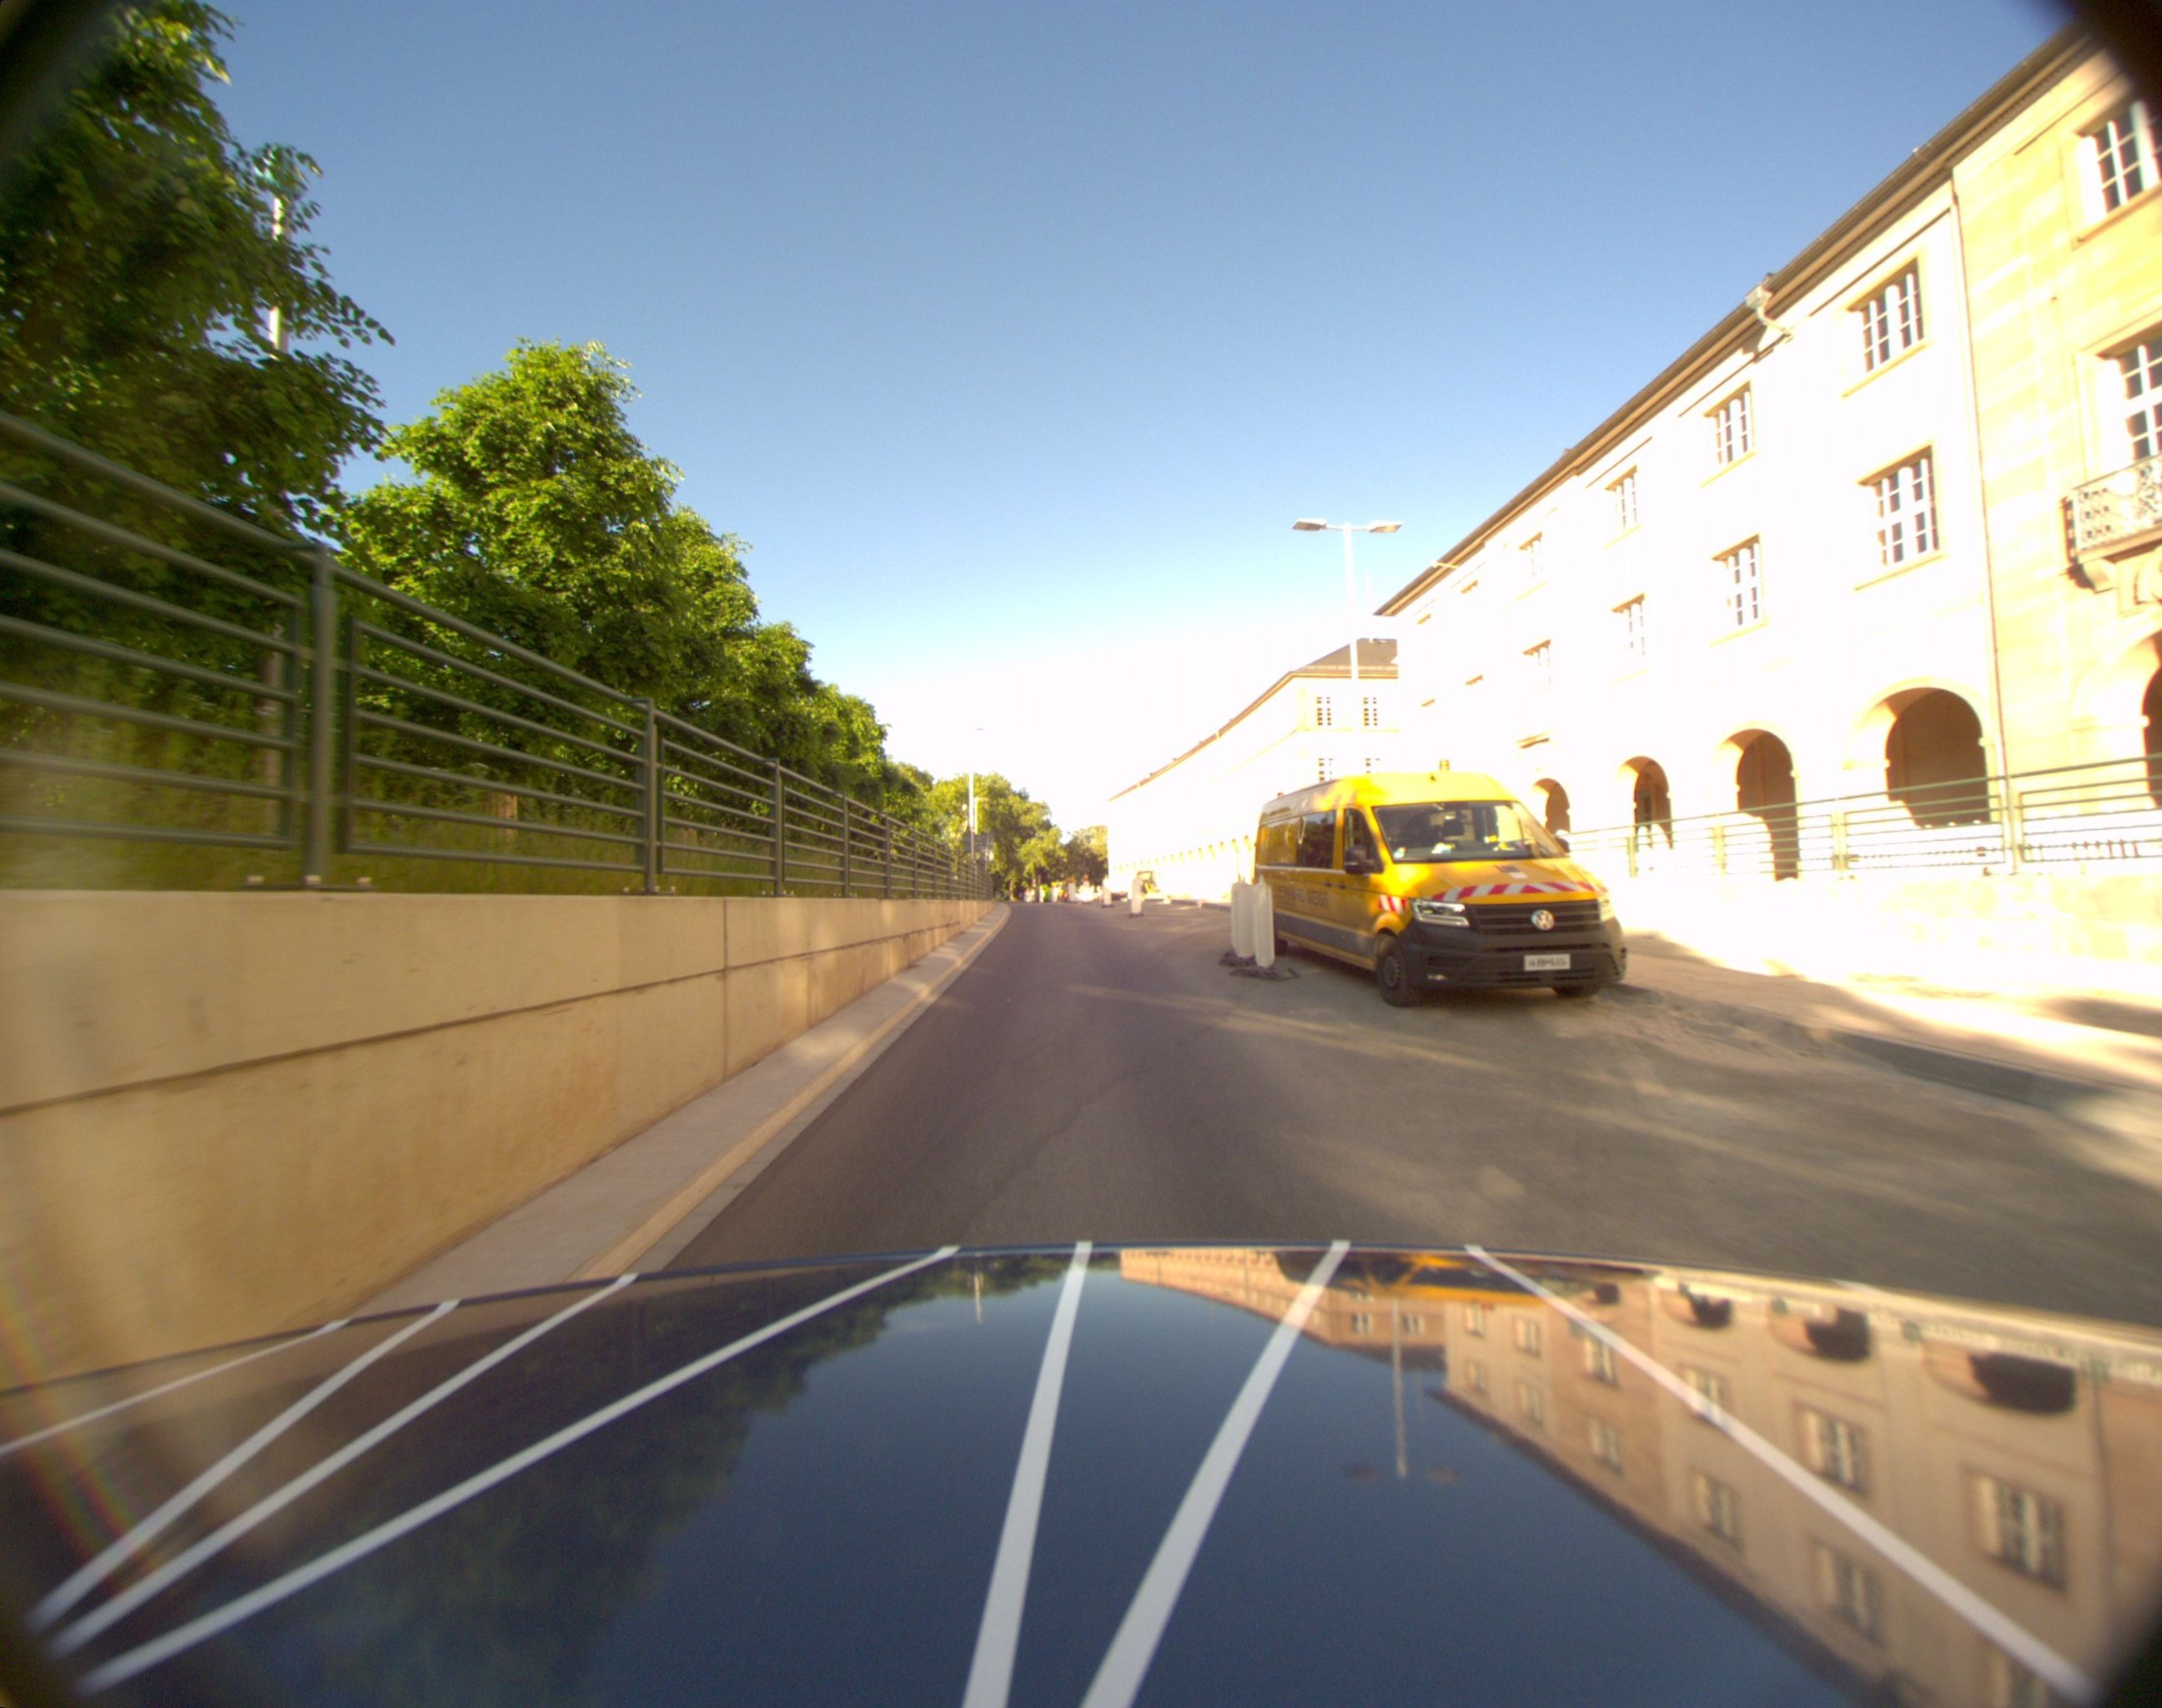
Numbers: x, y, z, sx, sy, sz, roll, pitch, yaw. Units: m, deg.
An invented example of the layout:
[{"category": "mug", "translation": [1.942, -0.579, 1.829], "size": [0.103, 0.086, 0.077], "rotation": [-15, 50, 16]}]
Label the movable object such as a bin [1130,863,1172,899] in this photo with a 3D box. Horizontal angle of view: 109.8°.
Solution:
[{"category": "movable object such as a bin", "translation": [4.898, 1.986, 54.060], "size": [1.797, 2.437, 4.535], "rotation": [0, -3, -10]}]

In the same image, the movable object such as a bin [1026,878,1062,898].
[{"category": "movable object such as a bin", "translation": [-3.918, 3.546, 79.697], "size": [3.247, 2.064, 2.107], "rotation": [0, -3, -20]}]

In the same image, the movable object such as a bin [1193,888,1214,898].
[{"category": "movable object such as a bin", "translation": [8.915, 2.812, 55.199], "size": [1.191, 0.693, 1.240], "rotation": [0, -3, -9]}]

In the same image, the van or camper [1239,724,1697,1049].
[{"category": "van or camper", "translation": [3.967, 0.295, 9.795], "size": [2.199, 2.597, 6.824], "rotation": [-4, 0, -1]}]
